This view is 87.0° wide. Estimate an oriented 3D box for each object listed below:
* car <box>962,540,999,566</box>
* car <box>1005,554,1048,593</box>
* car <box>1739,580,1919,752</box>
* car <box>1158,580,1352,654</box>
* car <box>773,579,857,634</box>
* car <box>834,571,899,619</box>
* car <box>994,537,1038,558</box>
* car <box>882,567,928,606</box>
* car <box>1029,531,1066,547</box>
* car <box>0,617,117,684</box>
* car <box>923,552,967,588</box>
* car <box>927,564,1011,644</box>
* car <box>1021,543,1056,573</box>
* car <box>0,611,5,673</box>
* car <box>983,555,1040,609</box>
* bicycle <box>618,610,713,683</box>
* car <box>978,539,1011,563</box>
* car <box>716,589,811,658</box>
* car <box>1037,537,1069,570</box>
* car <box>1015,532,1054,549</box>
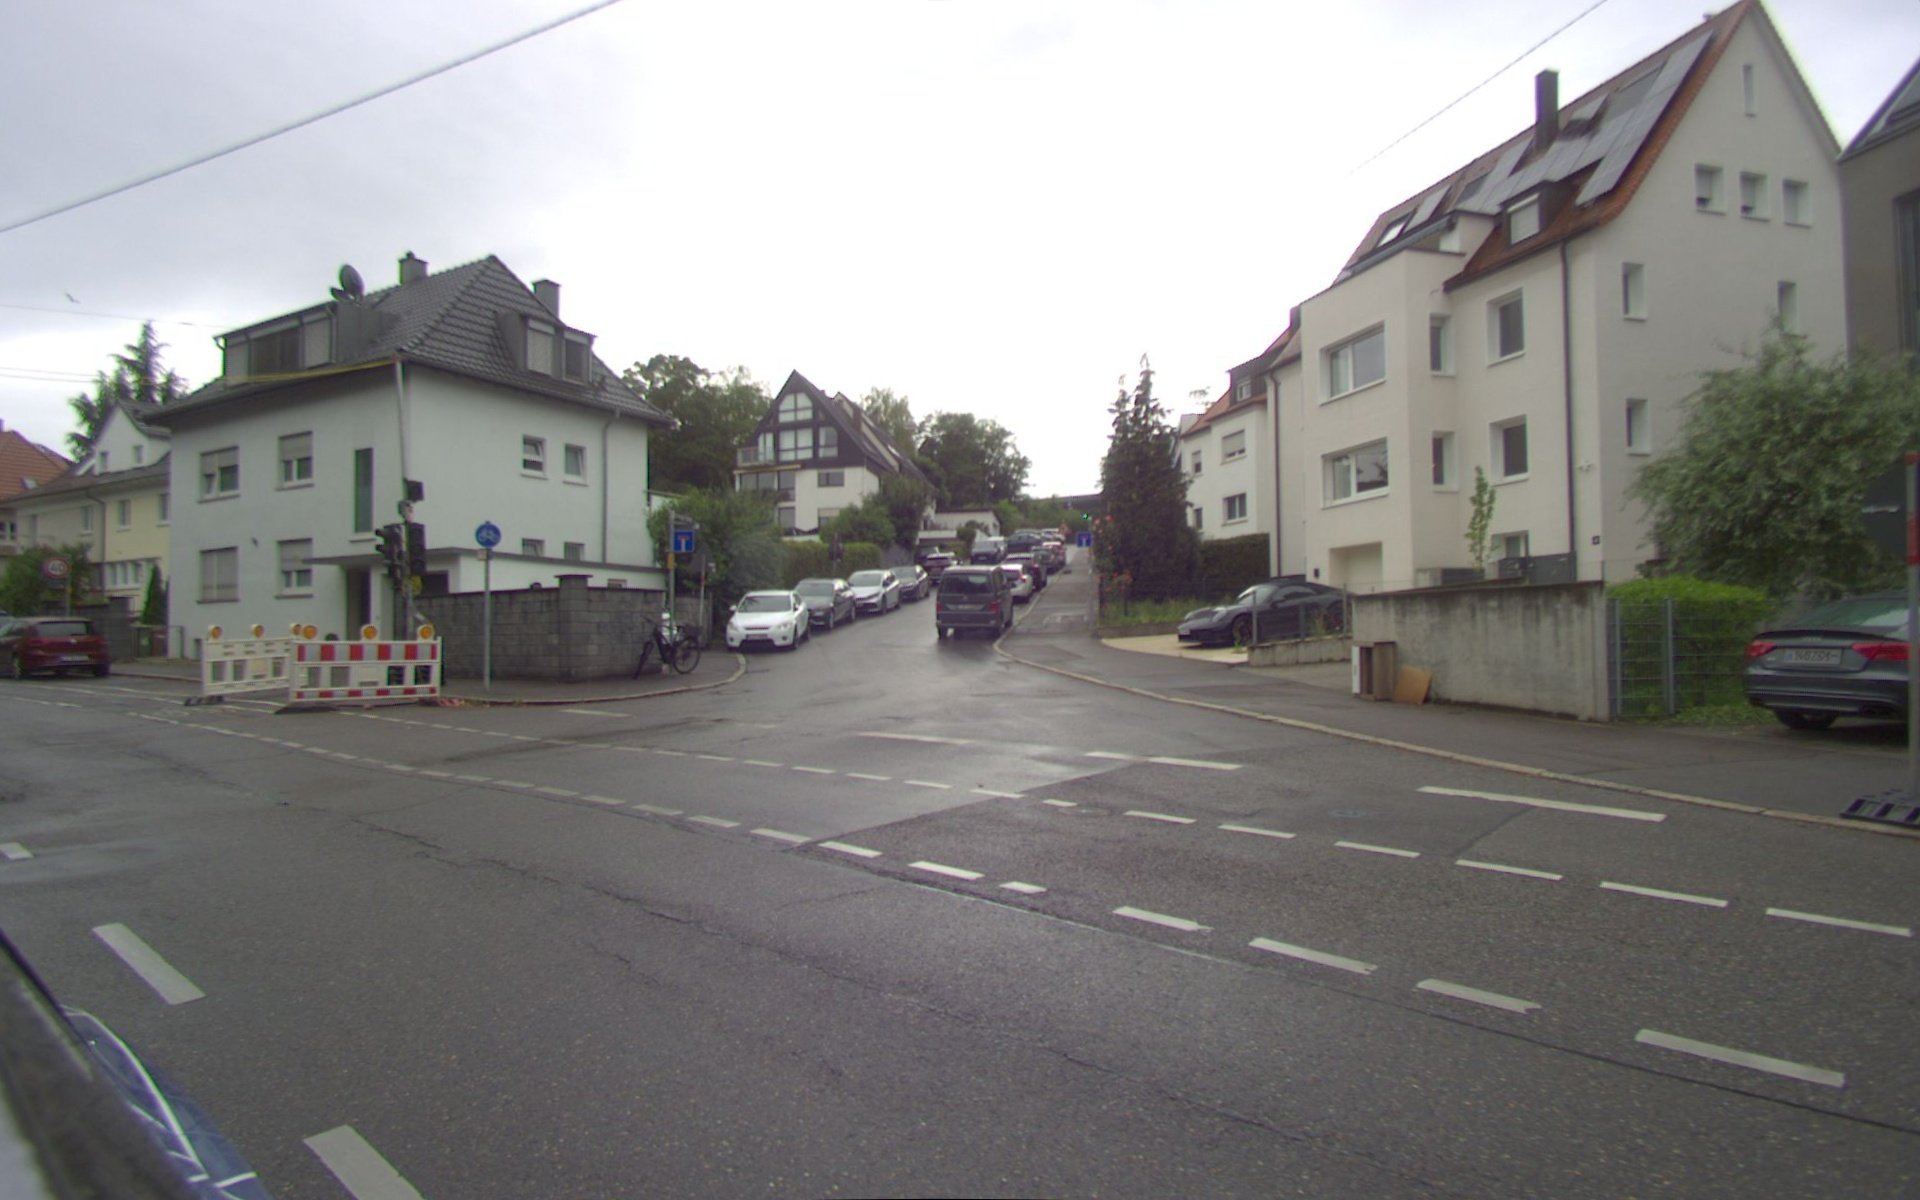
[{"bbox_3d":[1.427,-3.237,69.603,1.720,1.510,3.816,-1,6,14],"label":"car"},{"bbox_3d":[3.064,-1.231,46.038,1.566,1.479,3.552,-1,5,10],"label":"car"},{"bbox_3d":[9.738,0.477,9.338,4.193,1.378,1.617,-2,-1,-11],"label":"car"},{"bbox_3d":[6.606,0.351,22.728,3.857,1.342,1.572,-4,1,-15],"label":"car"},{"bbox_3d":[-4.623,0.164,32.804,1.685,1.476,3.846,-2,3,8],"label":"car"},{"bbox_3d":[-3.447,-0.239,37.870,1.564,1.476,3.847,-1,5,8],"label":"car"},{"bbox_3d":[4.728,-4.420,84.711,3.573,1.510,1.578,-2,6,7],"label":"car"},{"bbox_3d":[-2.341,-0.624,43.634,1.320,1.400,3.497,-1,5,8],"label":"car"},{"bbox_3d":[9.031,-6.335,104.708,3.493,1.510,1.614,0,6,19],"label":"car"},{"bbox_3d":[-22.349,1.242,24.575,3.786,1.505,1.877,-3,-3,33],"label":"car"},{"bbox_3d":[-0.745,-1.611,53.244,1.323,1.566,3.970,-1,6,14],"label":"car"},{"bbox_3d":[0.344,0.063,29.963,1.893,1.950,3.788,-1,5,9],"label":"car"},{"bbox_3d":[4.603,-2.486,59.161,1.677,1.479,3.552,-1,5,10],"label":"car"},{"bbox_3d":[-27.016,1.200,26.784,3.994,1.601,1.652,-3,-1,33],"label":"car"},{"bbox_3d":[2.109,-0.765,40.852,1.900,1.850,3.405,-1,5,9],"label":"car"},{"bbox_3d":[-5.672,0.873,19.599,0.705,1.321,1.713,-1,0,34],"label":"bicycle"},{"bbox_3d":[2.630,-3.680,76.008,1.720,1.510,3.816,-1,6,14],"label":"car"},{"bbox_3d":[-5.128,0.554,26.810,1.726,1.476,3.561,-2,3,1],"label":"car"},{"bbox_3d":[5.876,-2.973,63.809,1.677,1.871,3.552,-1,5,10],"label":"car"},{"bbox_3d":[7.360,-5.901,99.673,3.490,1.510,1.615,-1,6,17],"label":"car"}]
